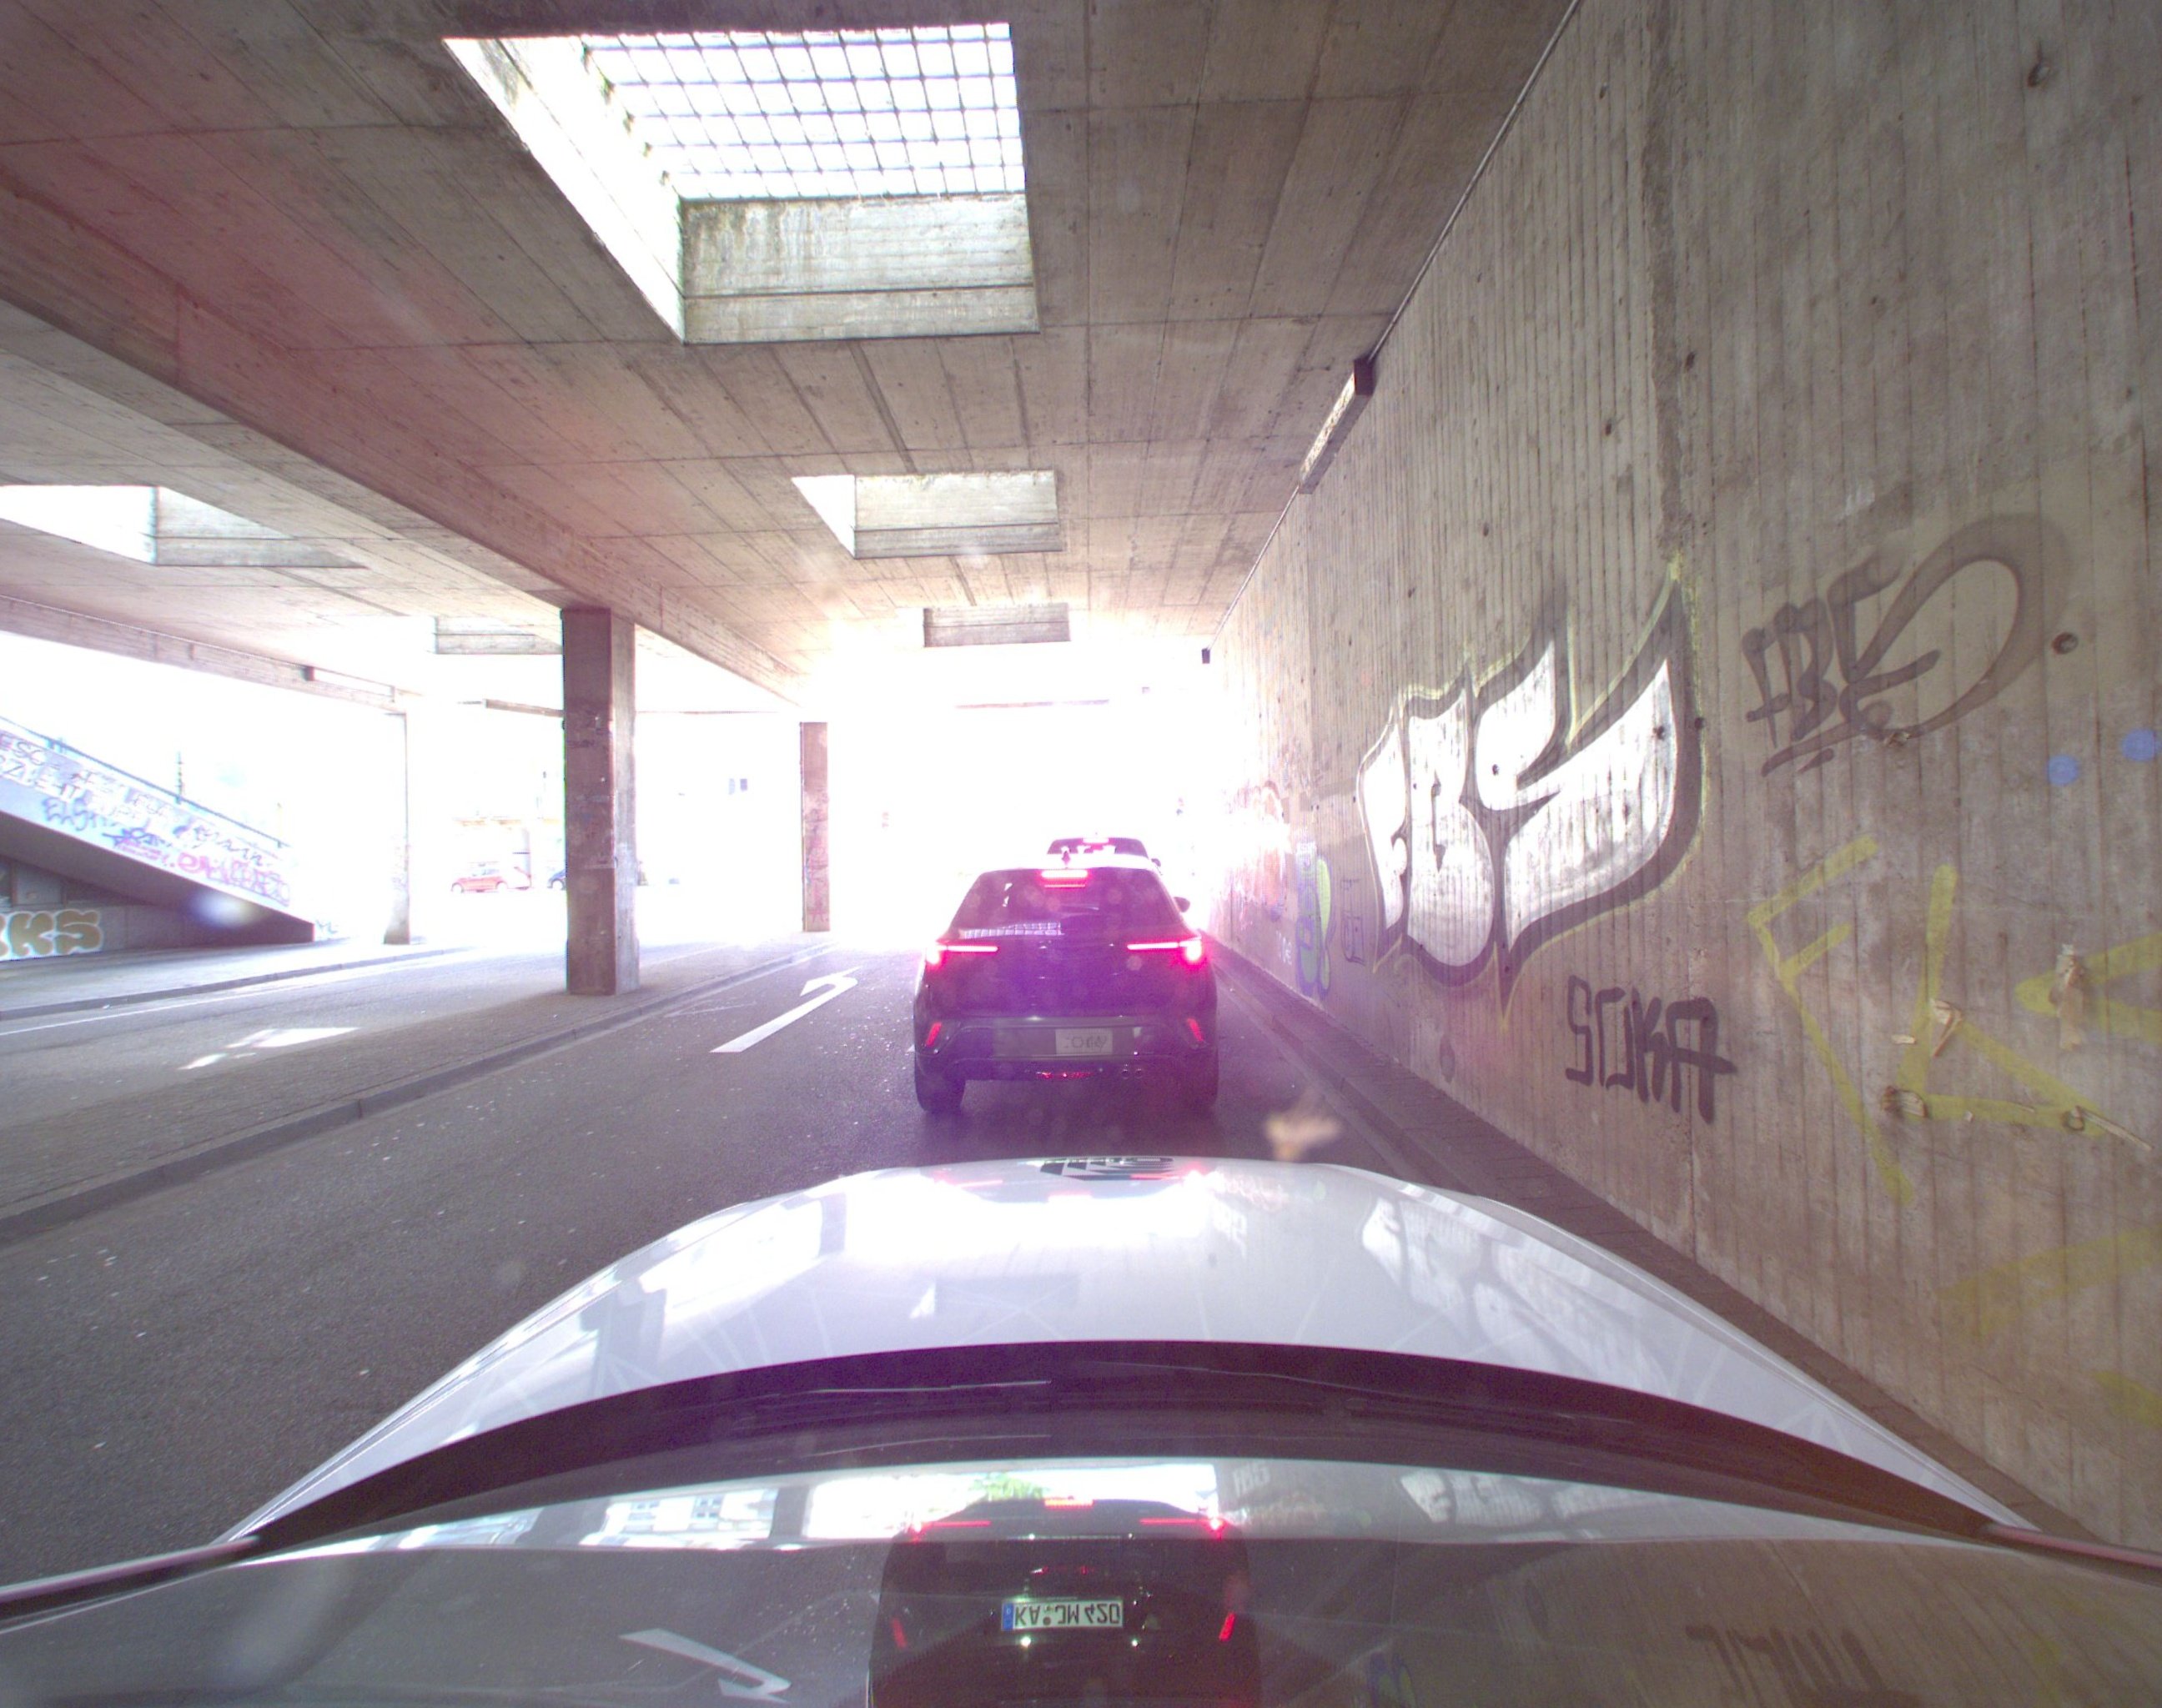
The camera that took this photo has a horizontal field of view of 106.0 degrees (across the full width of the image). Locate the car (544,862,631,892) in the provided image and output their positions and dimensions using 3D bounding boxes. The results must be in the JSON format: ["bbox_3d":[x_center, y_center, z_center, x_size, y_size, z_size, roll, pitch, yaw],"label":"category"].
[{"bbox_3d":[-27.391,1.266,45.293,3.742,1.508,1.752,-2,0,0],"label":"car"}]

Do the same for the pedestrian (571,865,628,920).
[{"bbox_3d":[-15.896,1.252,26.912,1.103,1.737,1.146,-1,0,15],"label":"pedestrian"}]

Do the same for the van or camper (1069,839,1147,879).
[{"bbox_3d":[1.488,0.273,43.586,3.854,2.013,2.005,-1,0,9],"label":"van or camper"}]

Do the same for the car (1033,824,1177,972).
[{"bbox_3d":[0.366,0.547,12.155,1.779,1.833,3.962,-1,0,2],"label":"car"}]

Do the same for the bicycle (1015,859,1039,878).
[{"bbox_3d":[-3.413,0.886,51.582,0.730,1.130,2.036,-2,0,19],"label":"bicycle"}]

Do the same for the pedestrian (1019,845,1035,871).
[{"bbox_3d":[-3.397,0.252,51.670,0.729,1.585,0.894,0,-1,18],"label":"pedestrian"}]

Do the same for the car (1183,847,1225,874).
[{"bbox_3d":[7.440,0.364,48.989,1.979,1.534,4.753,-1,0,14],"label":"car"}]

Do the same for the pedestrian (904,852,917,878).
[{"bbox_3d":[-11.624,0.745,55.559,0.618,1.705,0.726,0,-1,15],"label":"pedestrian"}]

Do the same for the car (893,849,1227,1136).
[{"bbox_3d":[-0.036,0.725,6.275,1.746,1.498,4.002,0,0,2],"label":"car"}]

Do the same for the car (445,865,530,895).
[{"bbox_3d":[-32.845,1.413,45.123,3.519,1.506,1.563,-1,0,2],"label":"car"}]
